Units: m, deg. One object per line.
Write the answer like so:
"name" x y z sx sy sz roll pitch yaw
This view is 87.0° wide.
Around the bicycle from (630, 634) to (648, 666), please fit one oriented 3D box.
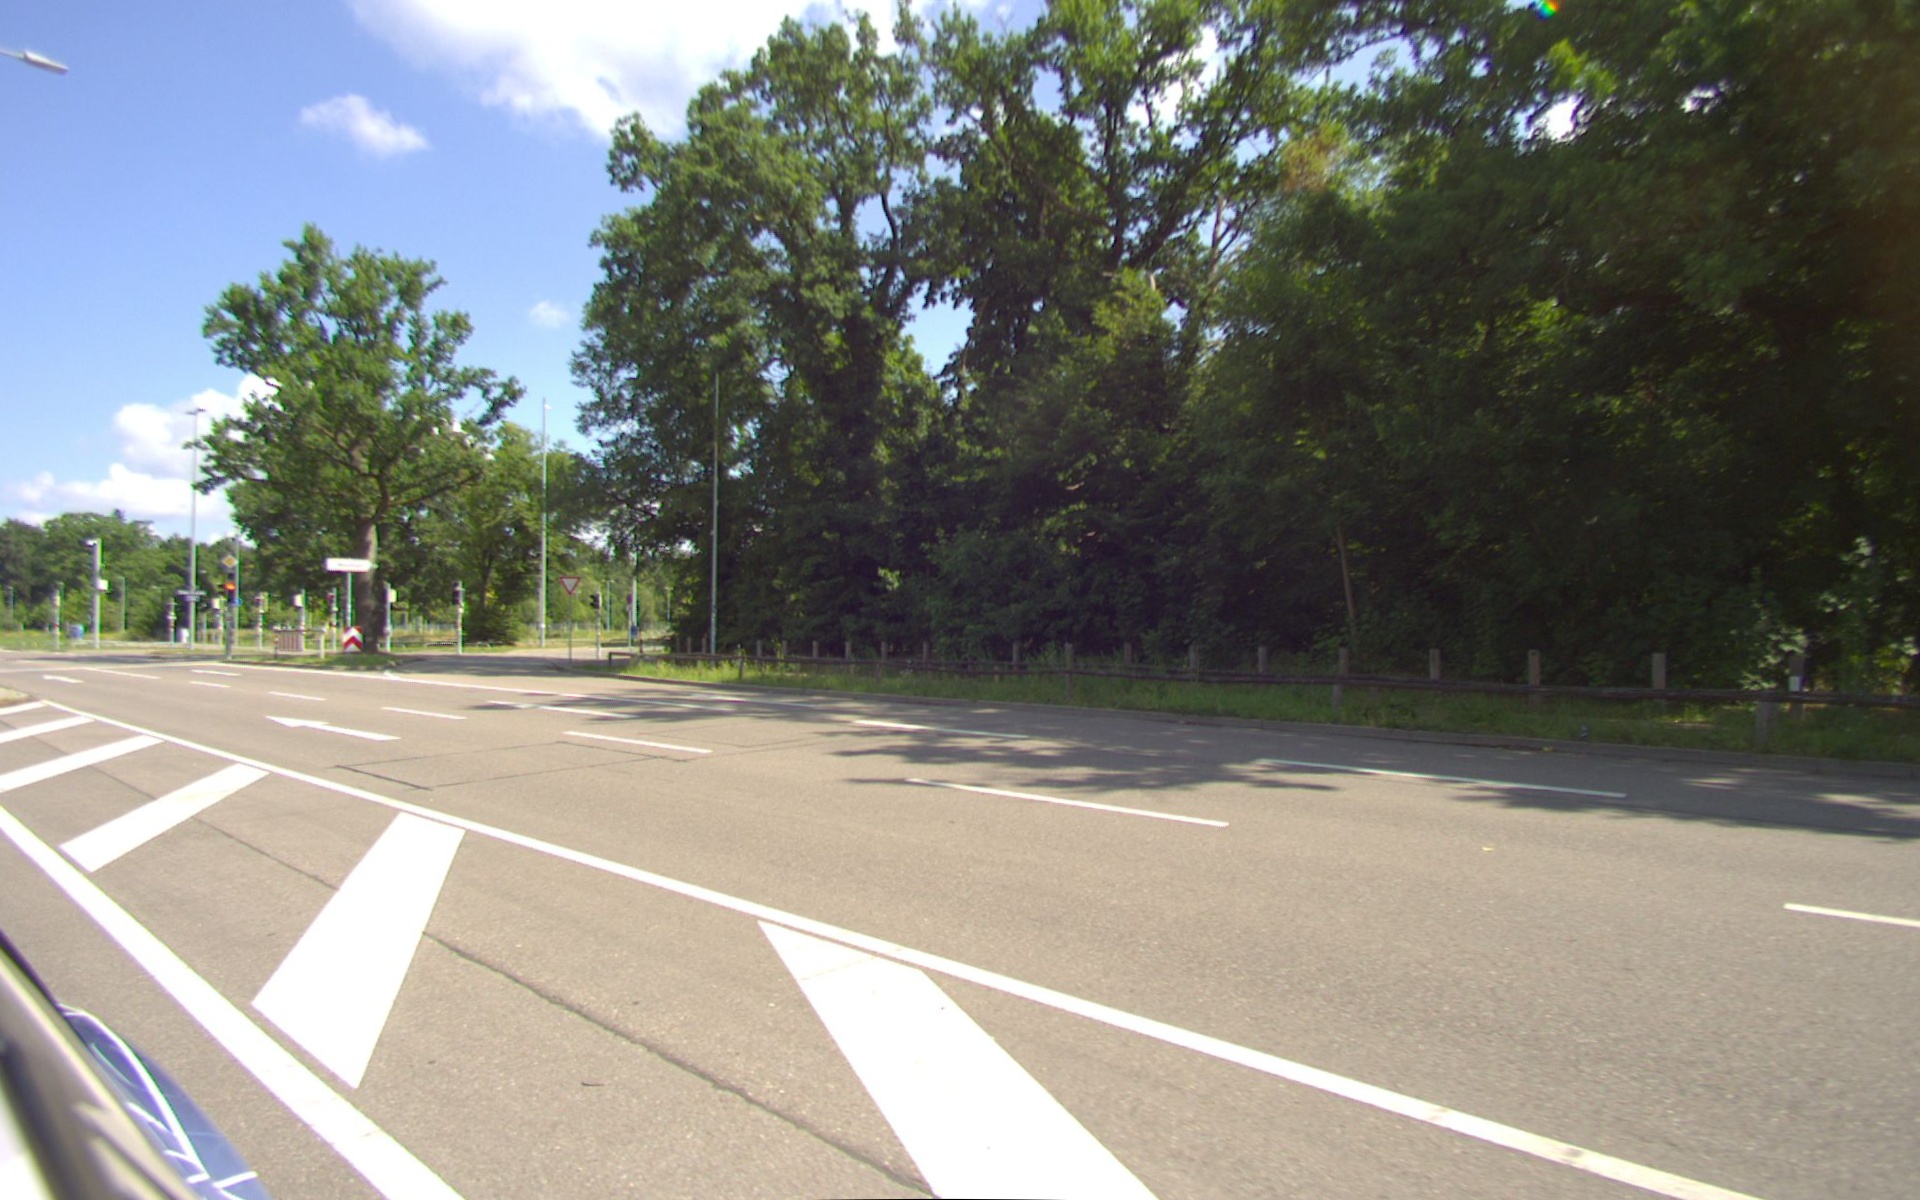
"bicycle" -12.158 1.878 38.316 0.414 1.182 1.233 0 -1 -29
